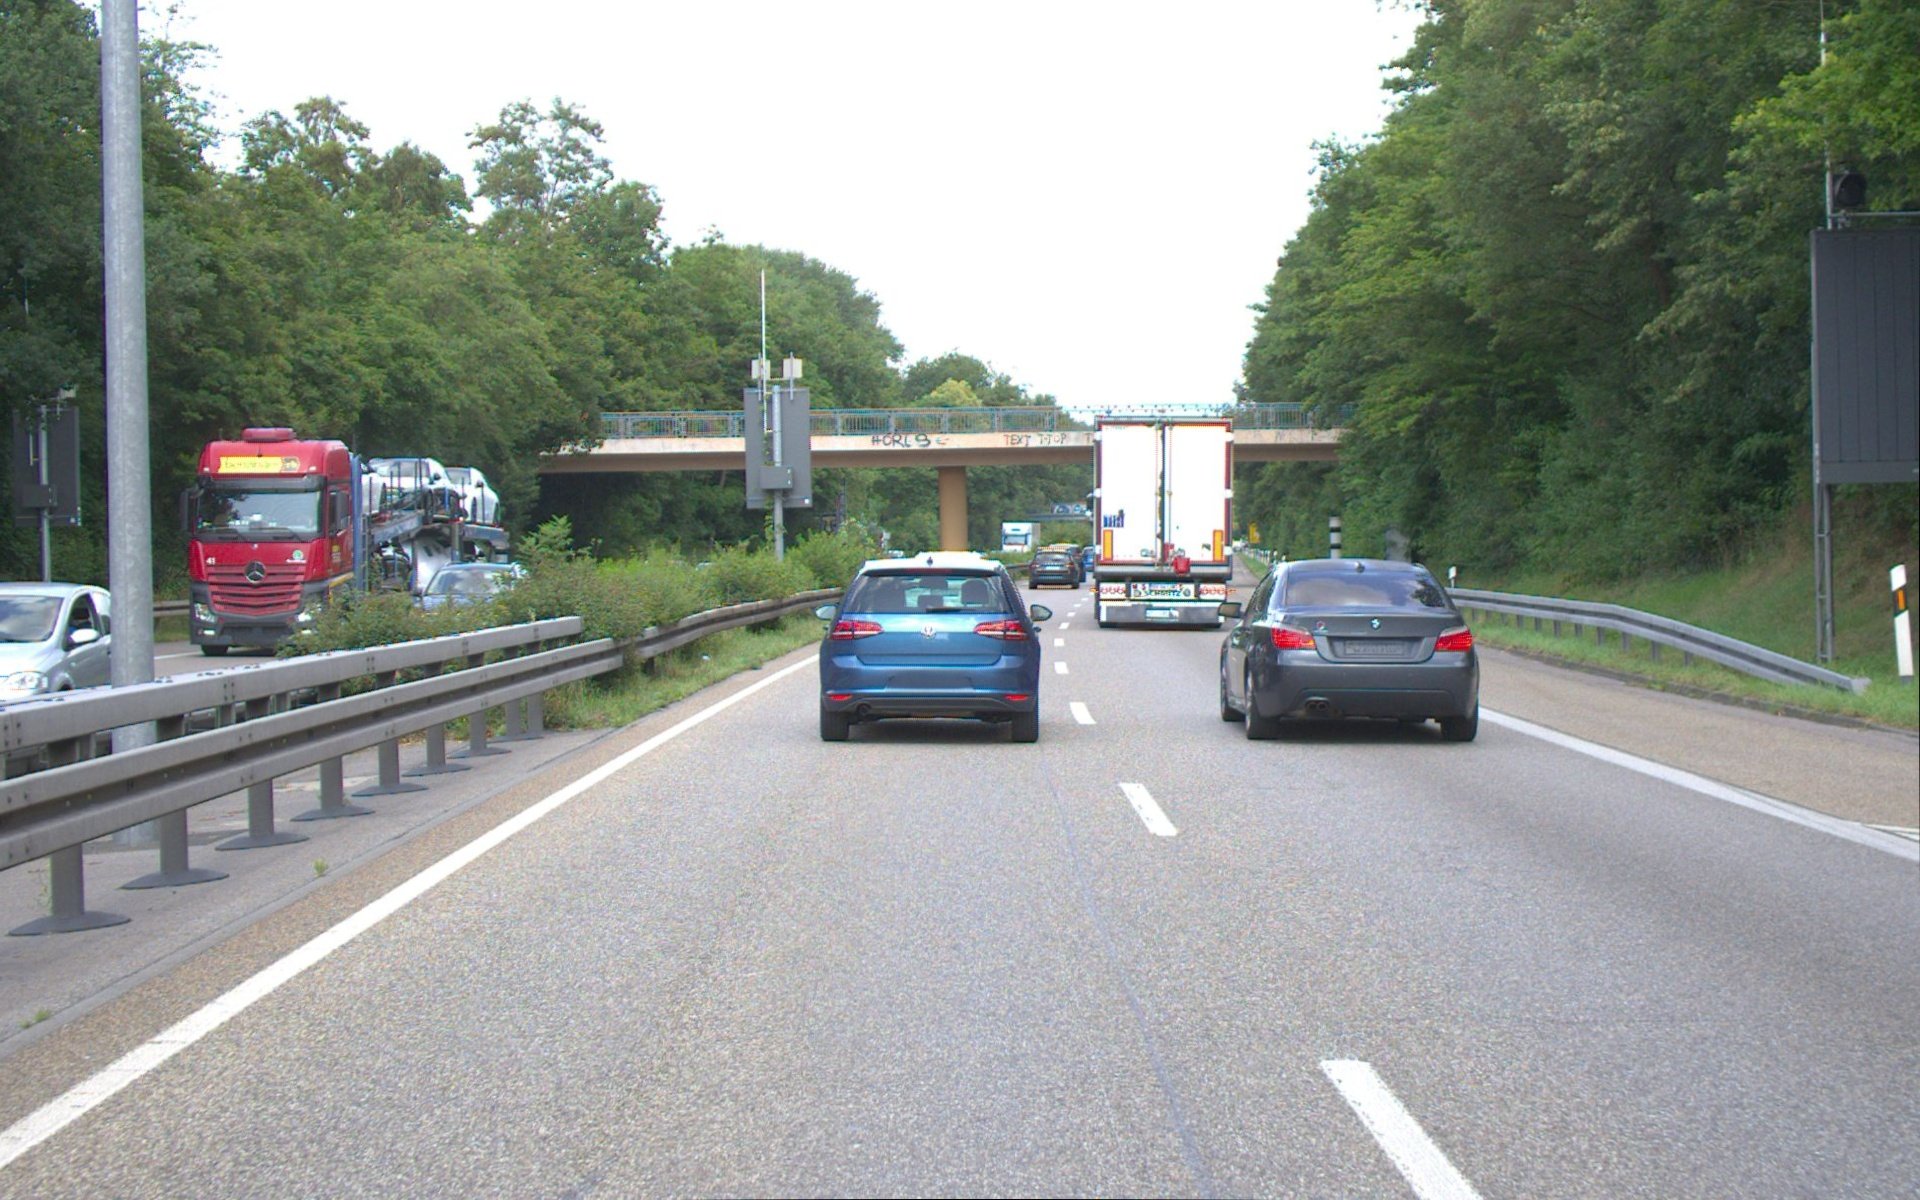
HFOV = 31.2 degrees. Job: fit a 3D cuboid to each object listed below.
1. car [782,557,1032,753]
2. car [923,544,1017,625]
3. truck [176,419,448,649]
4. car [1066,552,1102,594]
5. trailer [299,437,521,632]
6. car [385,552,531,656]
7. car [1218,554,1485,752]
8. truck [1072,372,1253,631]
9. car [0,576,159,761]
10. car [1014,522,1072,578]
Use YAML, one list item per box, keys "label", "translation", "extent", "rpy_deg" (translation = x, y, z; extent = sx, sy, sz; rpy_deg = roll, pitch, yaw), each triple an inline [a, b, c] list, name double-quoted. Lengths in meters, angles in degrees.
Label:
- label: "car"
  translation: [-0.363, 0.393, 28.280]
  extent: [1.705, 1.465, 4.000]
  rpy_deg: [0, 1, 4]
- label: "car"
  translation: [0.222, -0.314, 65.817]
  extent: [1.665, 1.495, 4.152]
  rpy_deg: [0, 1, 2]
- label: "truck"
  translation: [-11.848, -1.214, 63.971]
  extent: [2.955, 3.842, 10.324]
  rpy_deg: [-2, 1, 0]
- label: "car"
  translation: [7.090, -1.572, 196.055]
  extent: [1.993, 2.319, 4.442]
  rpy_deg: [-1, 1, 2]
- label: "trailer"
  translation: [-11.710, -1.397, 74.232]
  extent: [2.938, 3.820, 10.310]
  rpy_deg: [-2, 1, 1]
- label: "car"
  translation: [-7.883, 0.030, 54.286]
  extent: [1.674, 1.546, 4.263]
  rpy_deg: [-1, 1, 0]
- label: "car"
  translation: [3.171, 0.371, 28.668]
  extent: [1.774, 1.470, 4.880]
  rpy_deg: [0, 1, 1]
- label: "truck"
  translation: [3.982, -1.924, 68.857]
  extent: [3.242, 4.700, 11.006]
  rpy_deg: [-1, 1, 3]
- label: "car"
  translation: [-8.775, 0.594, 32.027]
  extent: [1.706, 1.563, 4.032]
  rpy_deg: [-1, 1, -1]
- label: "car"
  translation: [3.109, -1.857, 127.862]
  extent: [1.954, 2.007, 4.000]
  rpy_deg: [-1, 1, 4]
